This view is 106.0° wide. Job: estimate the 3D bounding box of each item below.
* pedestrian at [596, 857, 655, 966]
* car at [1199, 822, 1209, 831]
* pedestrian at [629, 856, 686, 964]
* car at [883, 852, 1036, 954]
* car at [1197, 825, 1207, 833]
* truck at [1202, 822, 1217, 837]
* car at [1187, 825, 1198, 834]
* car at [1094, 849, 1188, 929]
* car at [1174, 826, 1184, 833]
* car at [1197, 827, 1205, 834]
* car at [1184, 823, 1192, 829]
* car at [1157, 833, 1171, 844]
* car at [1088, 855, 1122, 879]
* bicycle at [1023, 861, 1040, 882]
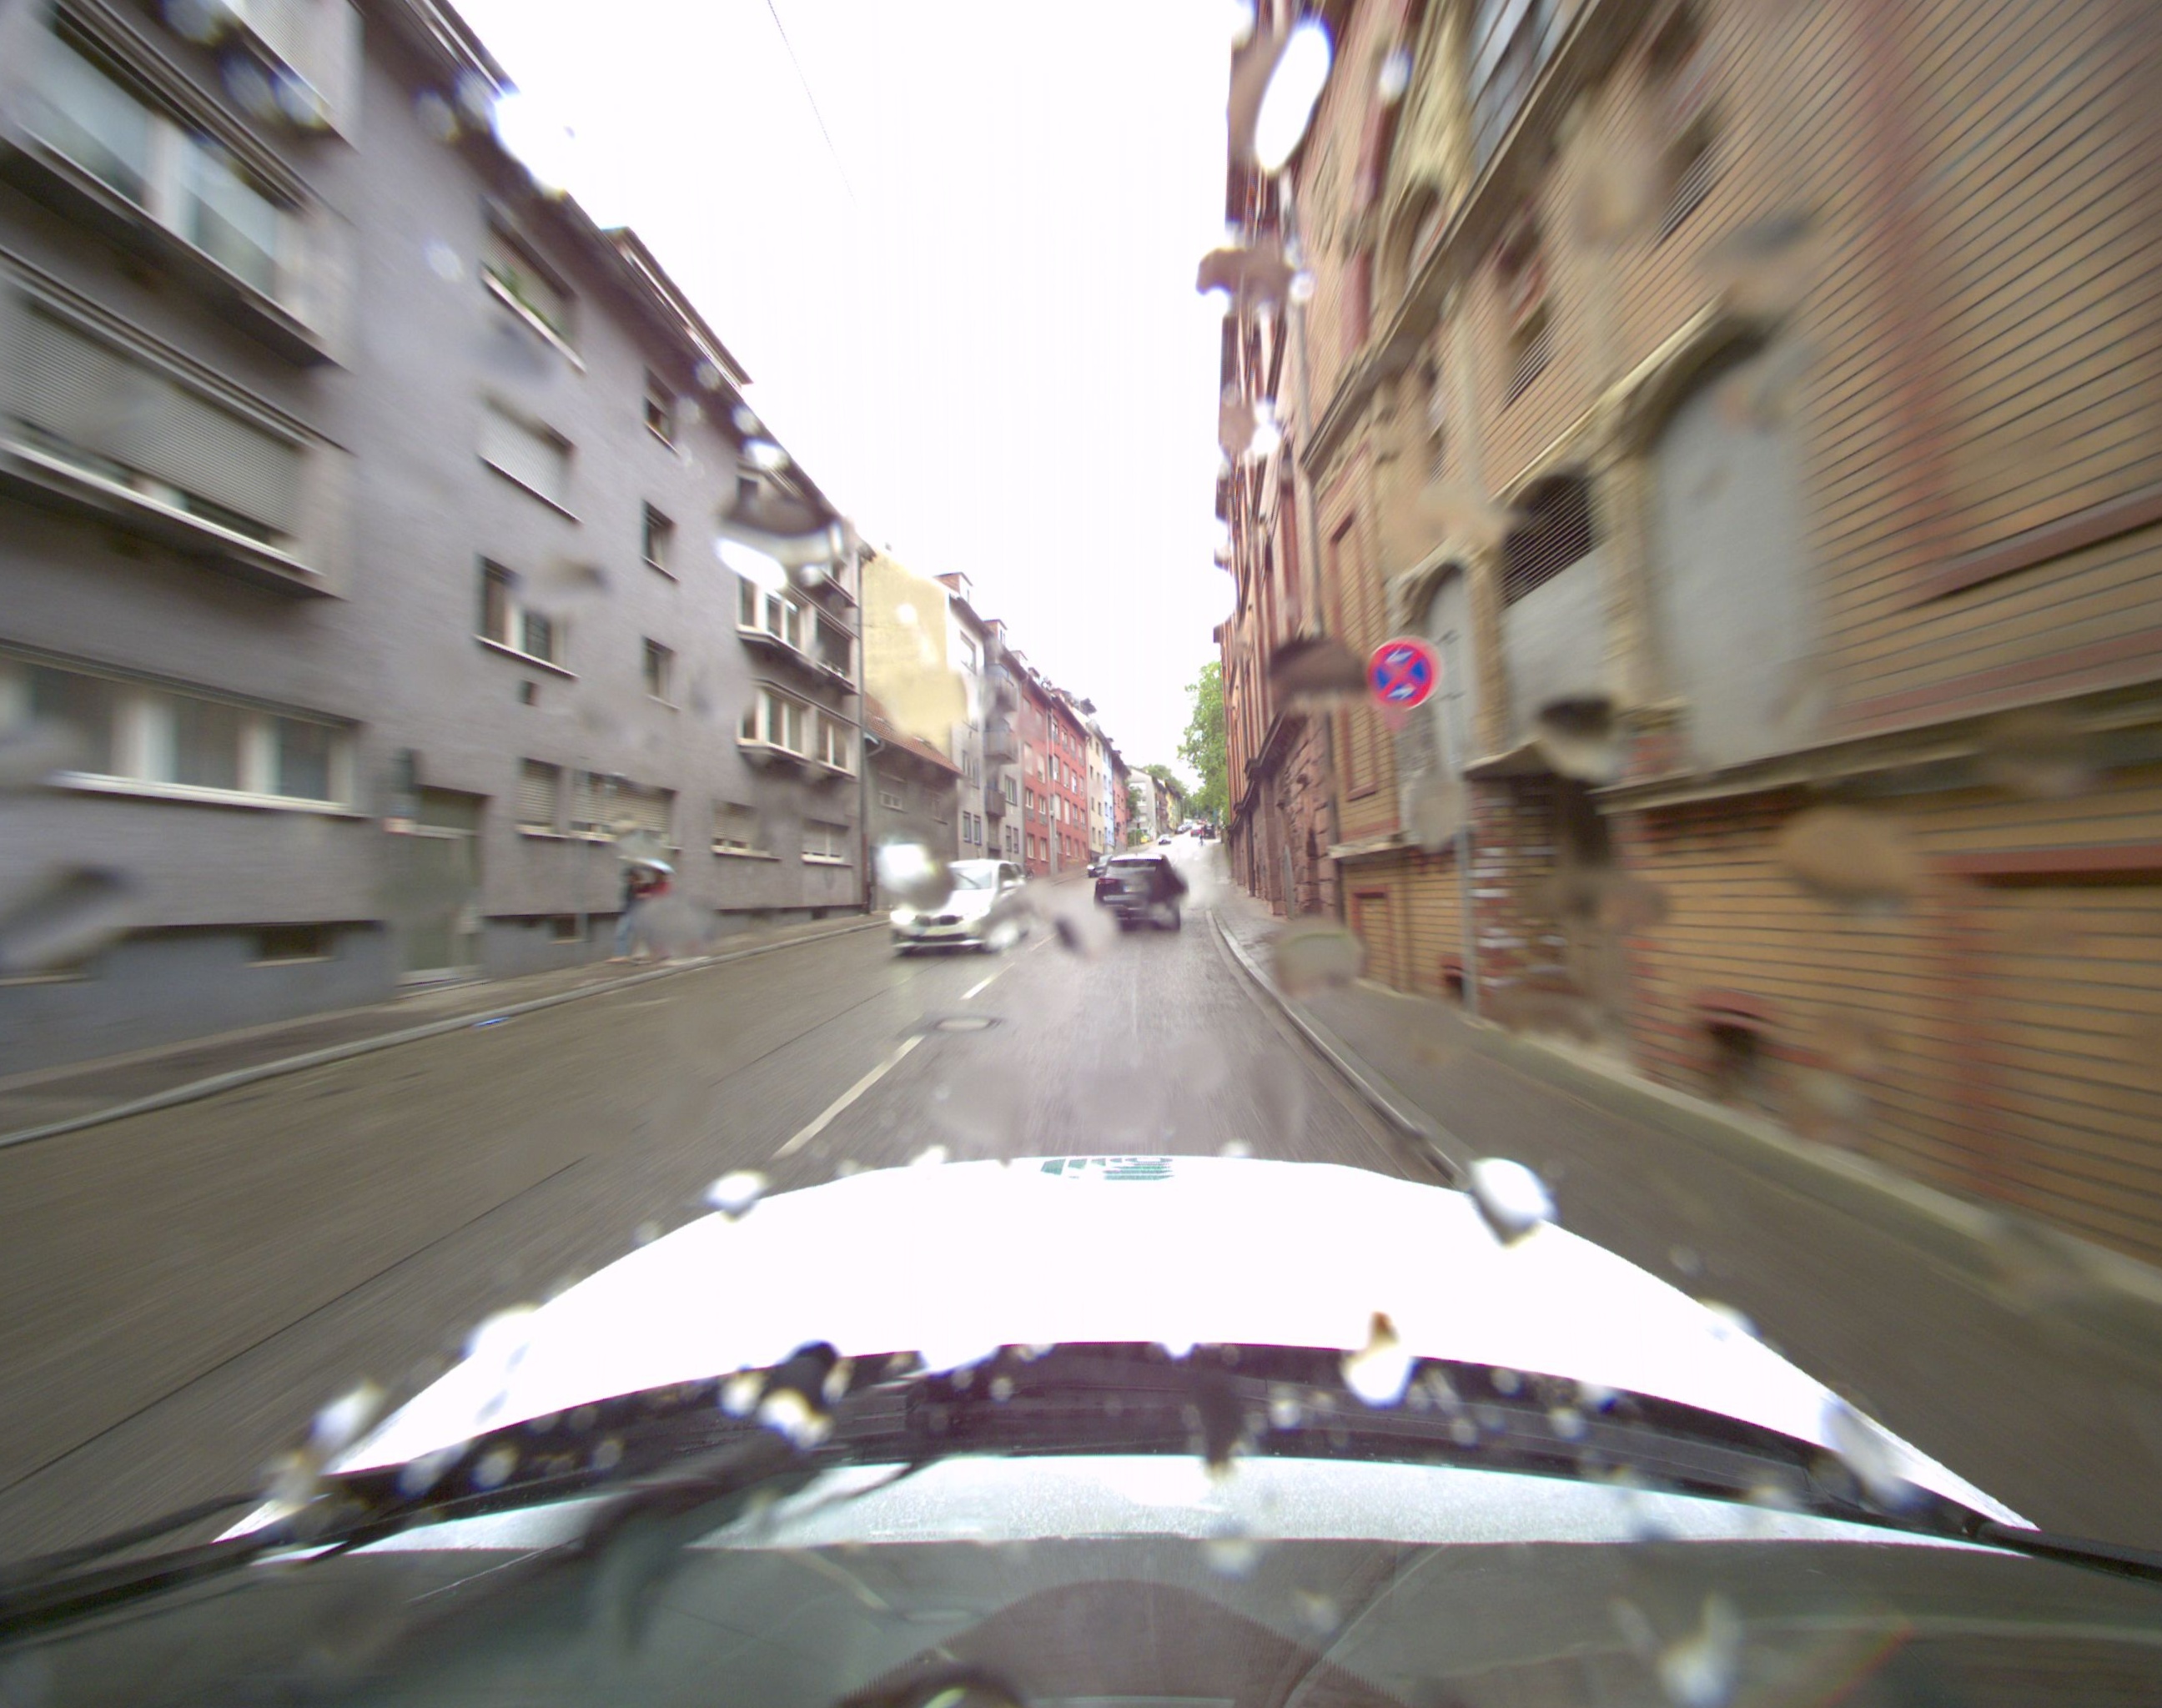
[{"bbox_3d":[-7.737,0.957,13.851,0.521,1.776,0.623,-3,0,3],"label":"pedestrian"},{"bbox_3d":[22.682,-5.029,150.155,1.783,1.510,4.512,-3,1,9],"label":"car"},{"bbox_3d":[-7.188,0.932,13.838,0.521,1.776,0.623,-3,0,3],"label":"pedestrian"},{"bbox_3d":[-2.101,0.807,15.279,1.755,1.576,4.044,-3,-1,7],"label":"car"},{"bbox_3d":[25.470,-5.326,171.237,1.783,1.510,4.011,-3,1,9],"label":"car"},{"bbox_3d":[21.301,-4.043,135.252,2.276,2.440,4.465,-3,1,9],"label":"truck"},{"bbox_3d":[21.482,-4.652,156.614,1.783,1.510,4.011,-3,1,9],"label":"car"},{"bbox_3d":[1.327,0.704,18.539,1.873,1.594,3.924,-1,0,3],"label":"car"},{"bbox_3d":[21.728,-5.418,180.462,1.783,1.510,4.011,-3,1,9],"label":"car"},{"bbox_3d":[27.592,-5.412,186.874,1.783,1.510,4.011,-3,1,9],"label":"car"},{"bbox_3d":[29.530,-7.618,224.810,1.783,1.510,4.011,-3,1,9],"label":"car"},{"bbox_3d":[12.169,-2.235,119.620,1.704,1.447,3.931,-3,2,9],"label":"car"},{"bbox_3d":[1.621,0.842,54.169,1.634,1.378,3.862,-4,0,10],"label":"car"},{"bbox_3d":[-2.864,1.005,47.003,0.495,1.107,1.805,-3,1,10],"label":"bicycle"}]
